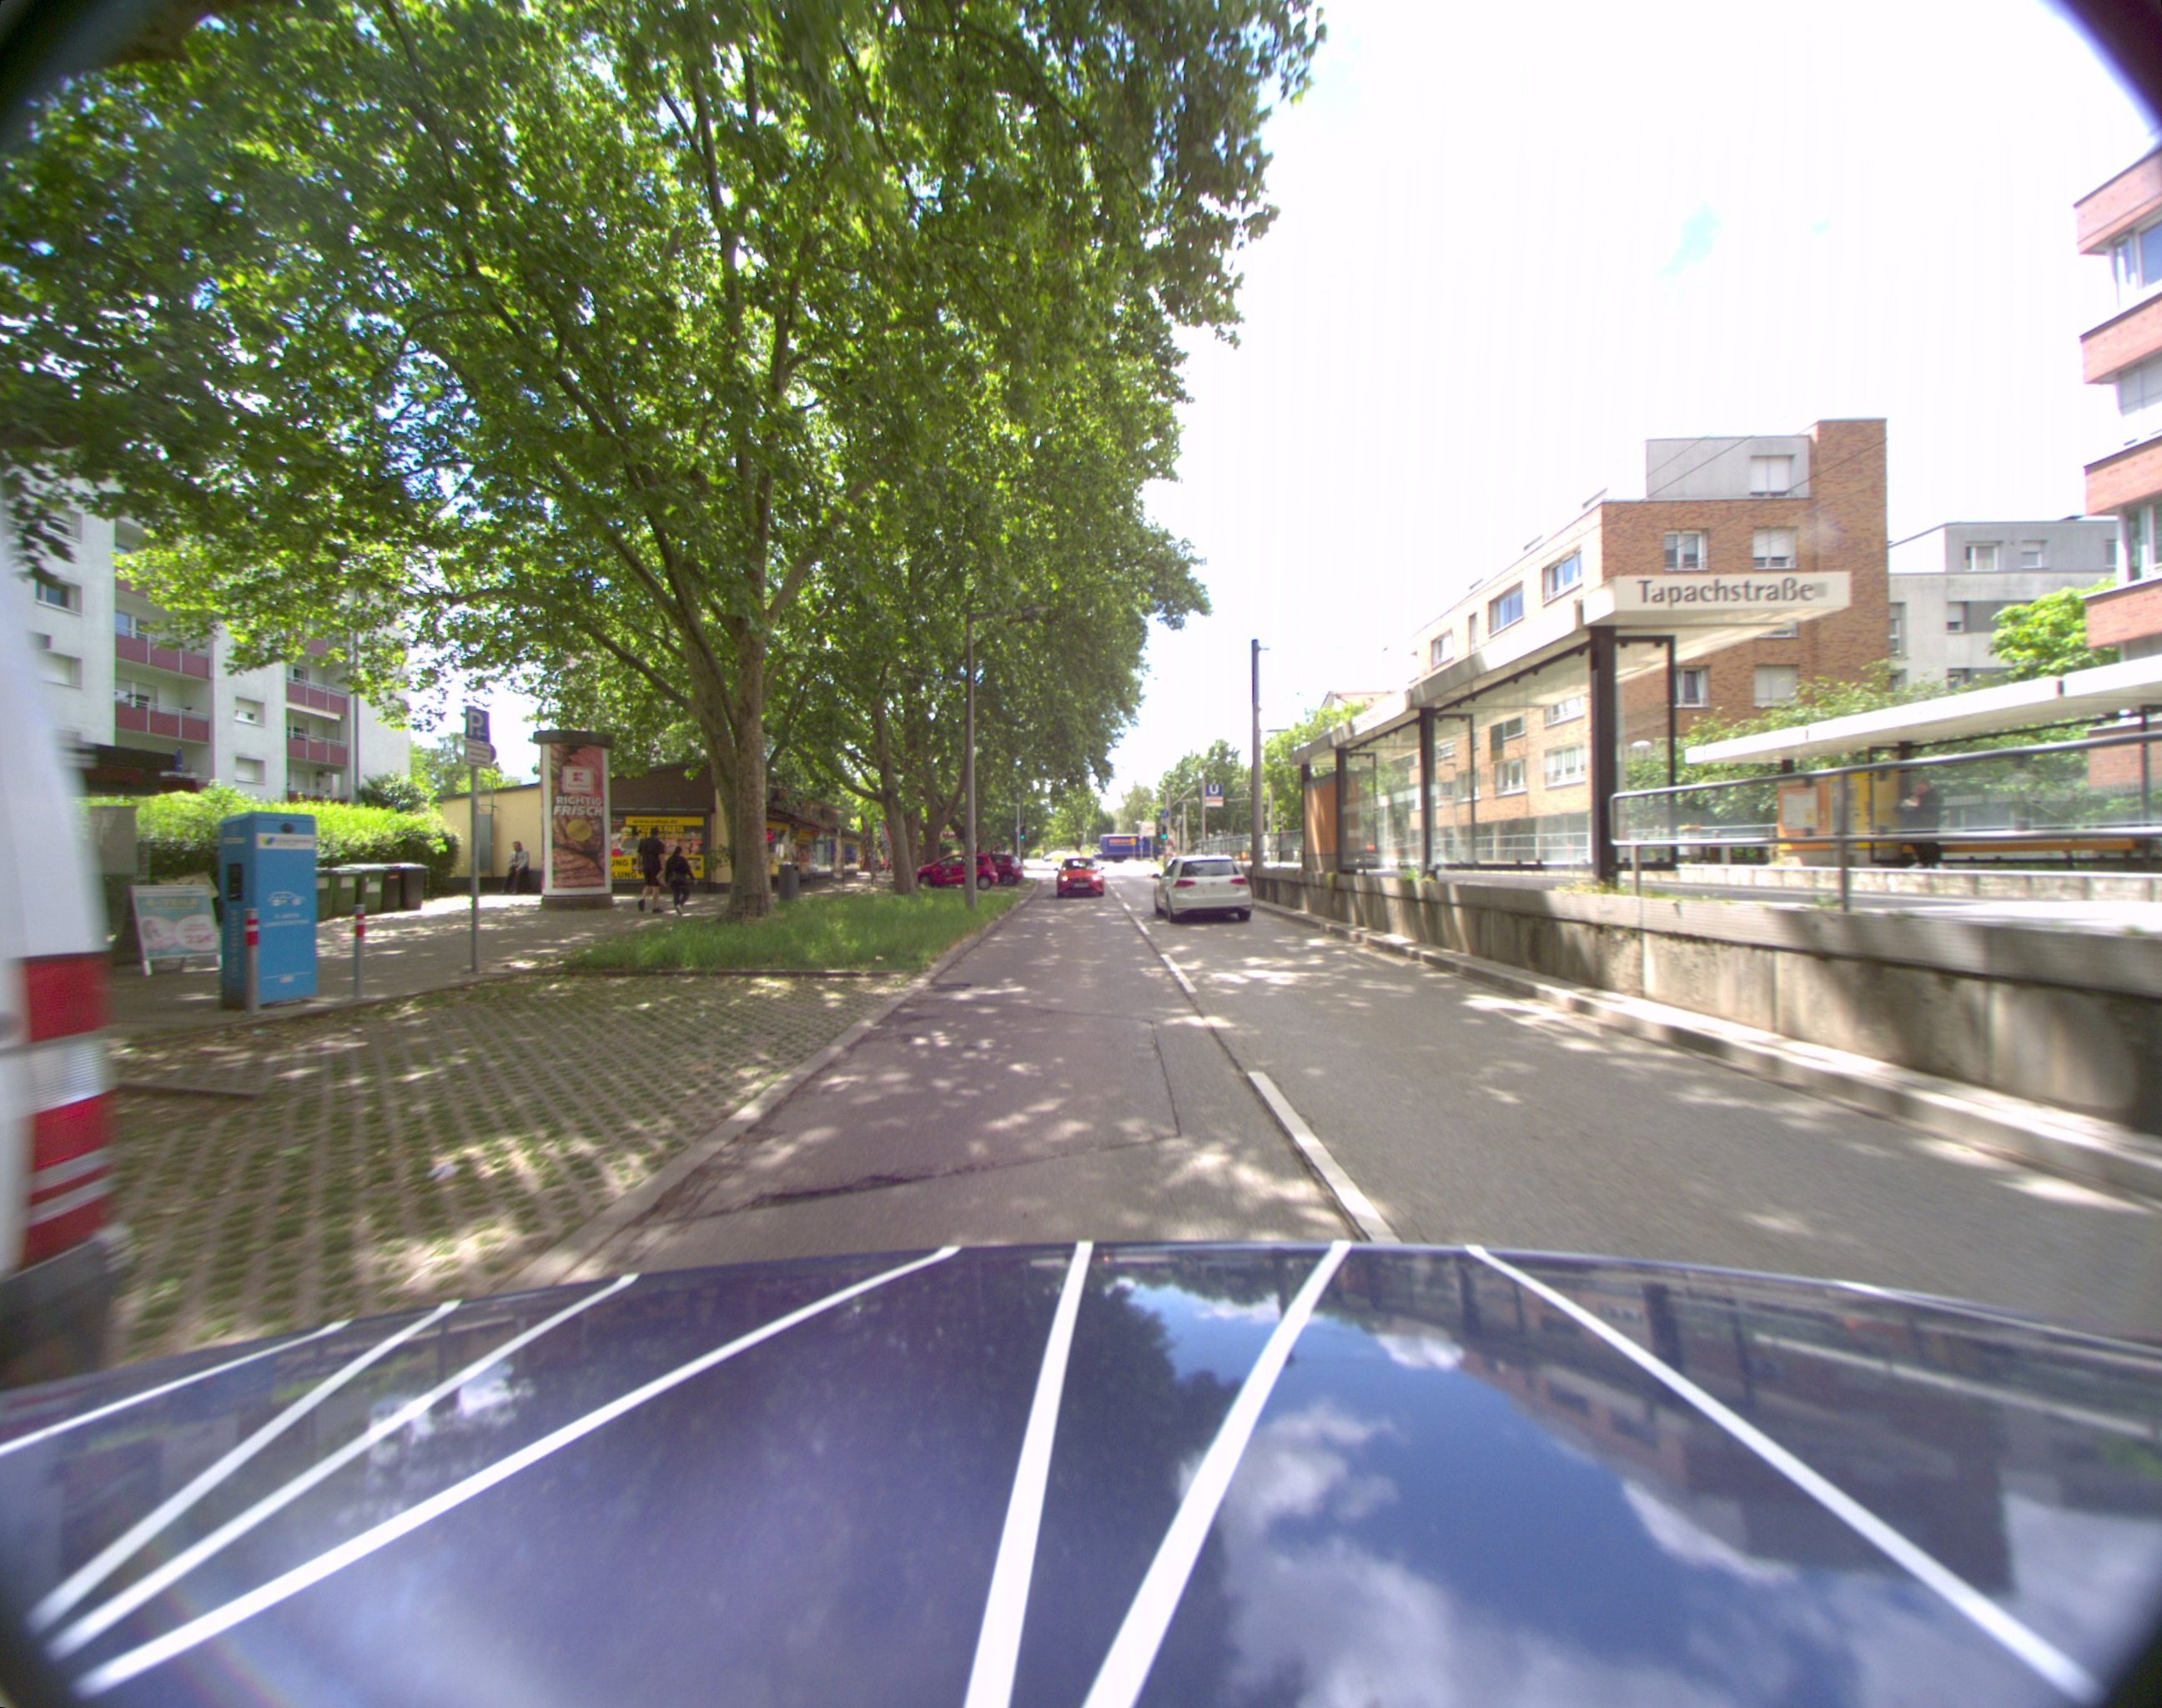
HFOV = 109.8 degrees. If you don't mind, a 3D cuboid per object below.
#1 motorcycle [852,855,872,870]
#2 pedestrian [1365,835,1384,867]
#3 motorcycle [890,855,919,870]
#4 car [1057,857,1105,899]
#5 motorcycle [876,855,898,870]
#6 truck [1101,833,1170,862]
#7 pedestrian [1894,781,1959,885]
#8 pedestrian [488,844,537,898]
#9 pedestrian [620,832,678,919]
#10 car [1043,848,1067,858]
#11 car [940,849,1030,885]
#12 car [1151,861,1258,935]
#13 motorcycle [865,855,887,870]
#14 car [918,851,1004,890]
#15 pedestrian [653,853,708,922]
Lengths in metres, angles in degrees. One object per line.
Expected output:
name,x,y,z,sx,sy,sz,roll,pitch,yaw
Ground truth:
motorcycle,-17.495,0.679,60.735,0.741,1.188,2.132,0,1,-40
pedestrian,16.621,-0.154,43.106,0.745,1.814,0.829,0,0,-1
motorcycle,-14.164,0.669,60.912,2.135,1.188,0.740,0,0,9
car,0.029,0.882,29.472,1.712,1.439,3.670,-2,0,1
motorcycle,-16.021,0.676,62.601,2.132,1.188,0.741,0,0,44
truck,7.900,-0.929,110.186,9.617,4.069,2.627,0,0,-18
pedestrian,14.594,-0.356,13.122,0.535,1.753,0.528,-1,1,-3
pedestrian,-16.544,0.486,22.128,0.752,1.526,0.907,-1,1,-7
pedestrian,-9.668,0.469,17.031,0.745,1.873,0.941,1,1,0
car,-4.608,-0.210,134.814,2.004,1.786,4.606,0,0,-38
car,-4.609,0.614,36.813,4.038,1.602,1.731,1,0,3
car,2.694,0.920,17.390,1.736,1.388,3.751,-2,1,-1
motorcycle,-16.469,0.669,61.013,2.132,1.188,0.741,1,1,42
car,-5.074,0.678,32.447,3.417,1.506,1.609,2,0,-4
pedestrian,-8.669,0.706,16.486,0.627,1.439,1.028,-1,1,0
